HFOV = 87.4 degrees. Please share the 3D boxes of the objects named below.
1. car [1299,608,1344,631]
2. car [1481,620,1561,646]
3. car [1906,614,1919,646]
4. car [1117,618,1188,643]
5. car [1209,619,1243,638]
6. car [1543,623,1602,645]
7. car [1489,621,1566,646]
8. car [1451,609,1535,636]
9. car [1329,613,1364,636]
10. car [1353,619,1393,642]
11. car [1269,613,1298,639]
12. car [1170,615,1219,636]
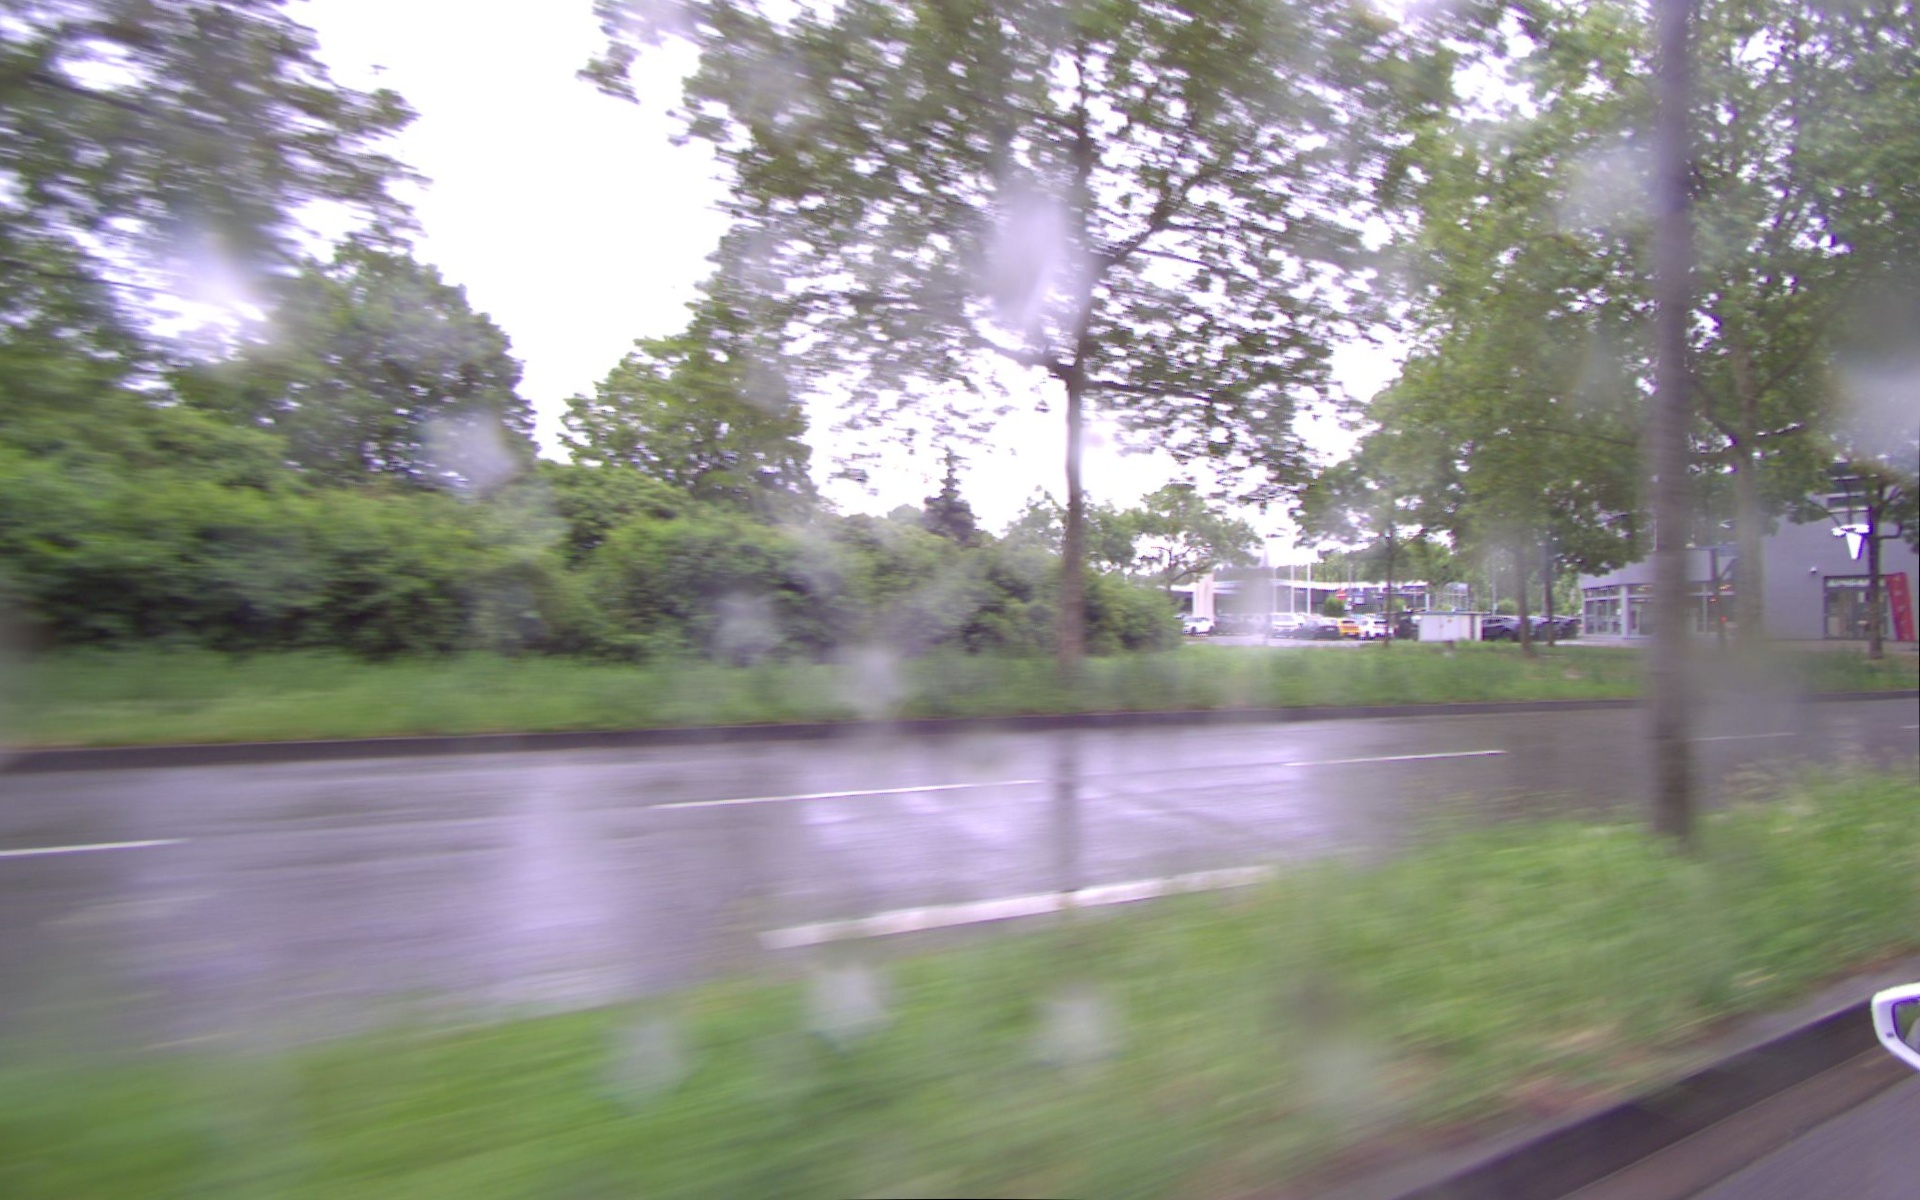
[{"bbox_3d":[24.960,1.341,69.417,1.847,1.514,4.207,1,-1,4],"label":"car"},{"bbox_3d":[35.445,2.084,63.497,1.582,1.514,4.164,1,-1,-35],"label":"car"},{"bbox_3d":[46.437,1.403,46.246,1.568,1.514,4.201,1,-1,-6],"label":"car"},{"bbox_3d":[10.847,1.708,56.479,4.258,1.376,1.579,1,-1,-40],"label":"car"},{"bbox_3d":[21.436,2.270,80.790,1.570,1.514,4.196,0,-1,31],"label":"car"},{"bbox_3d":[43.721,2.401,71.728,1.582,1.514,3.284,1,-1,-35],"label":"car"},{"bbox_3d":[37.309,2.168,66.093,1.582,1.514,4.164,1,-1,-35],"label":"car"},{"bbox_3d":[31.453,1.304,59.355,1.582,1.514,4.164,1,-1,-35],"label":"car"},{"bbox_3d":[27.203,1.702,70.841,1.566,1.514,3.074,1,-1,7],"label":"car"},{"bbox_3d":[29.313,2.138,71.420,1.566,1.514,4.207,1,-1,7],"label":"car"},{"bbox_3d":[23.769,1.856,73.897,1.781,1.838,4.207,1,-1,14],"label":"car"},{"bbox_3d":[17.870,1.934,76.425,4.174,1.514,1.578,1,-1,-43],"label":"car"}]
